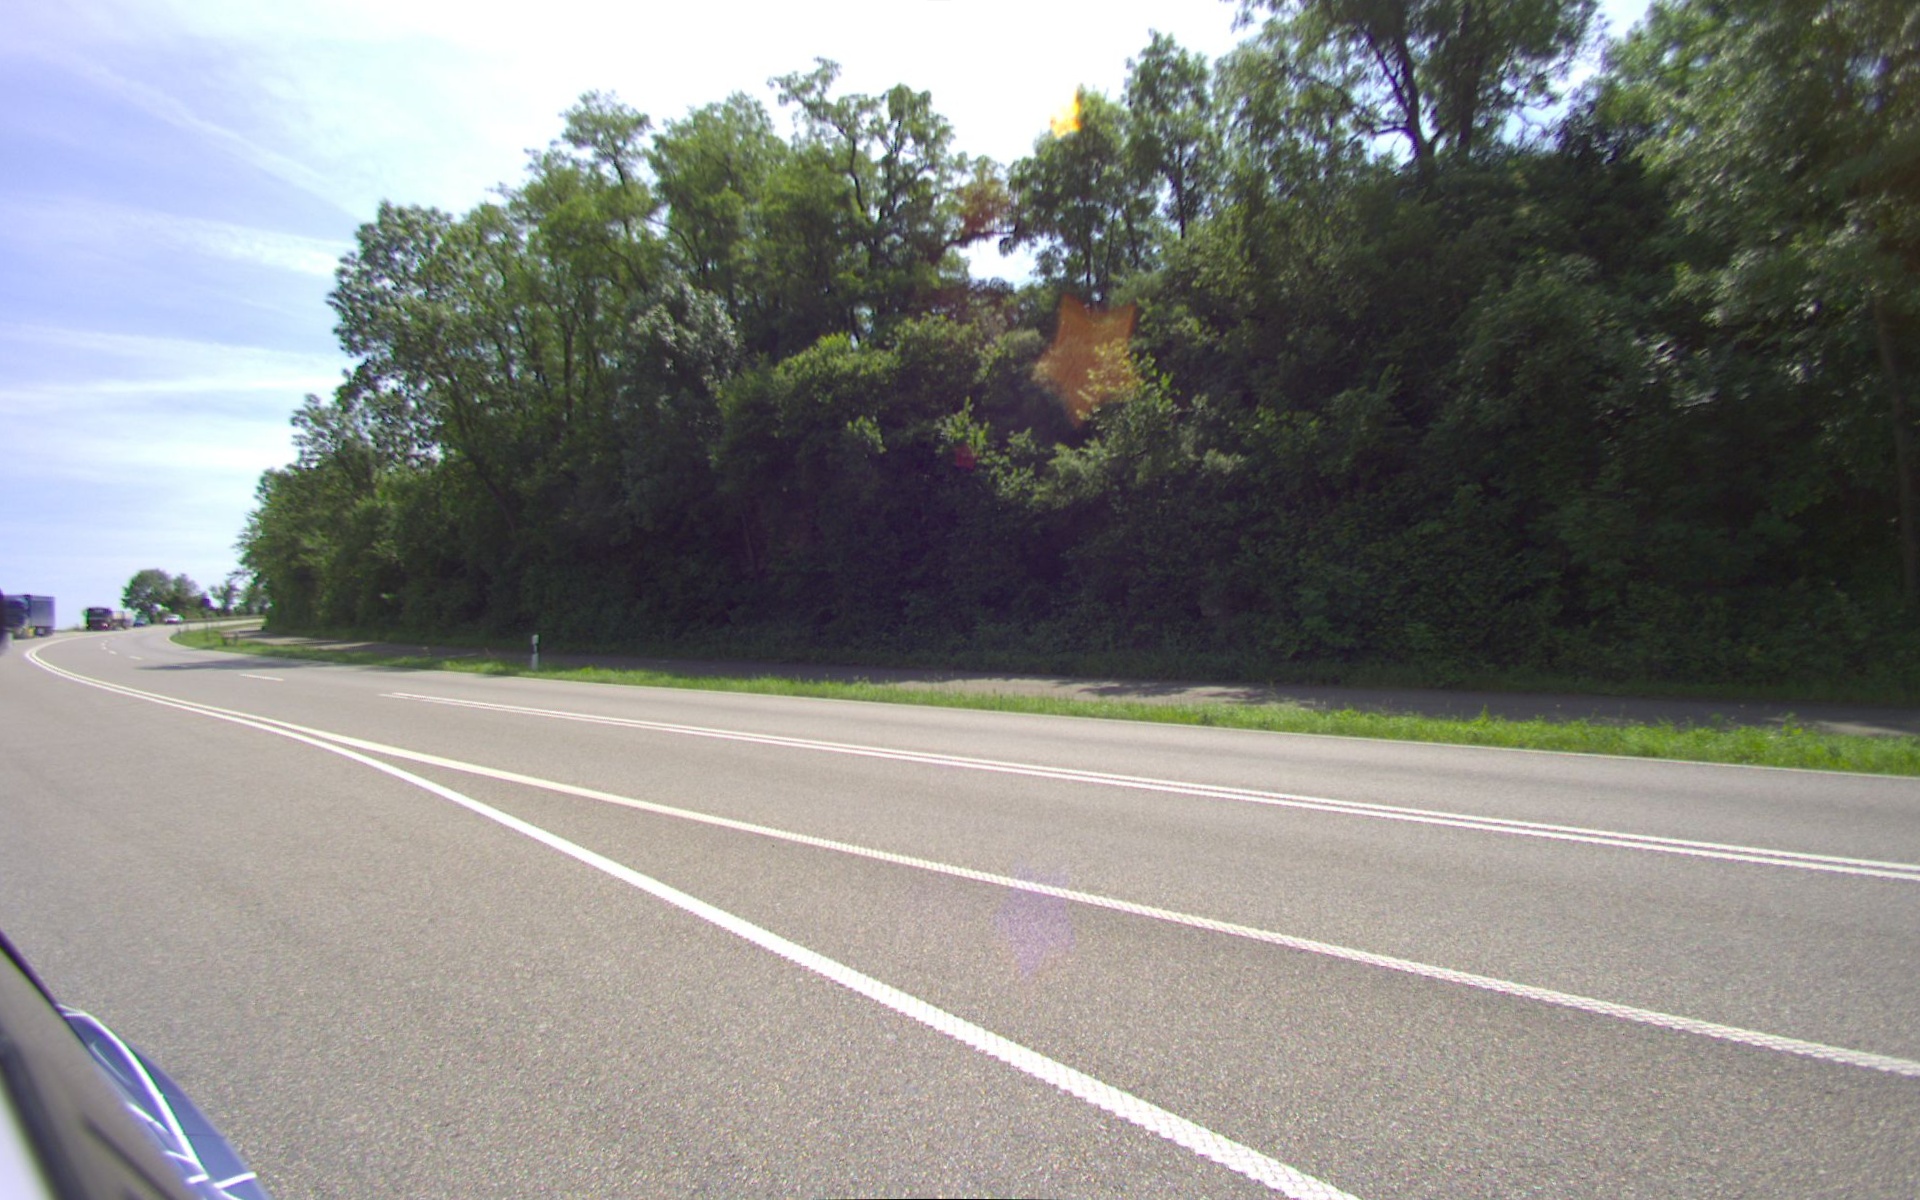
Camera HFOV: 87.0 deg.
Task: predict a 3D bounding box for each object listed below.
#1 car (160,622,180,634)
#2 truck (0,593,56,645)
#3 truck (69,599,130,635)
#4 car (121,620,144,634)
[{"bbox_3d":[-132.355,4.674,169.622,1.826,2.029,3.901,0,0,-25],"label":"car"},{"bbox_3d":[-88.834,1.816,94.839,4.328,4.493,14.748,-1,-1,-35],"label":"truck"},{"bbox_3d":[-115.060,2.293,135.607,3.921,4.493,14.383,-1,-1,-31],"label":"truck"},{"bbox_3d":[-125.124,4.077,153.080,1.886,2.029,4.189,0,0,-27],"label":"car"}]
